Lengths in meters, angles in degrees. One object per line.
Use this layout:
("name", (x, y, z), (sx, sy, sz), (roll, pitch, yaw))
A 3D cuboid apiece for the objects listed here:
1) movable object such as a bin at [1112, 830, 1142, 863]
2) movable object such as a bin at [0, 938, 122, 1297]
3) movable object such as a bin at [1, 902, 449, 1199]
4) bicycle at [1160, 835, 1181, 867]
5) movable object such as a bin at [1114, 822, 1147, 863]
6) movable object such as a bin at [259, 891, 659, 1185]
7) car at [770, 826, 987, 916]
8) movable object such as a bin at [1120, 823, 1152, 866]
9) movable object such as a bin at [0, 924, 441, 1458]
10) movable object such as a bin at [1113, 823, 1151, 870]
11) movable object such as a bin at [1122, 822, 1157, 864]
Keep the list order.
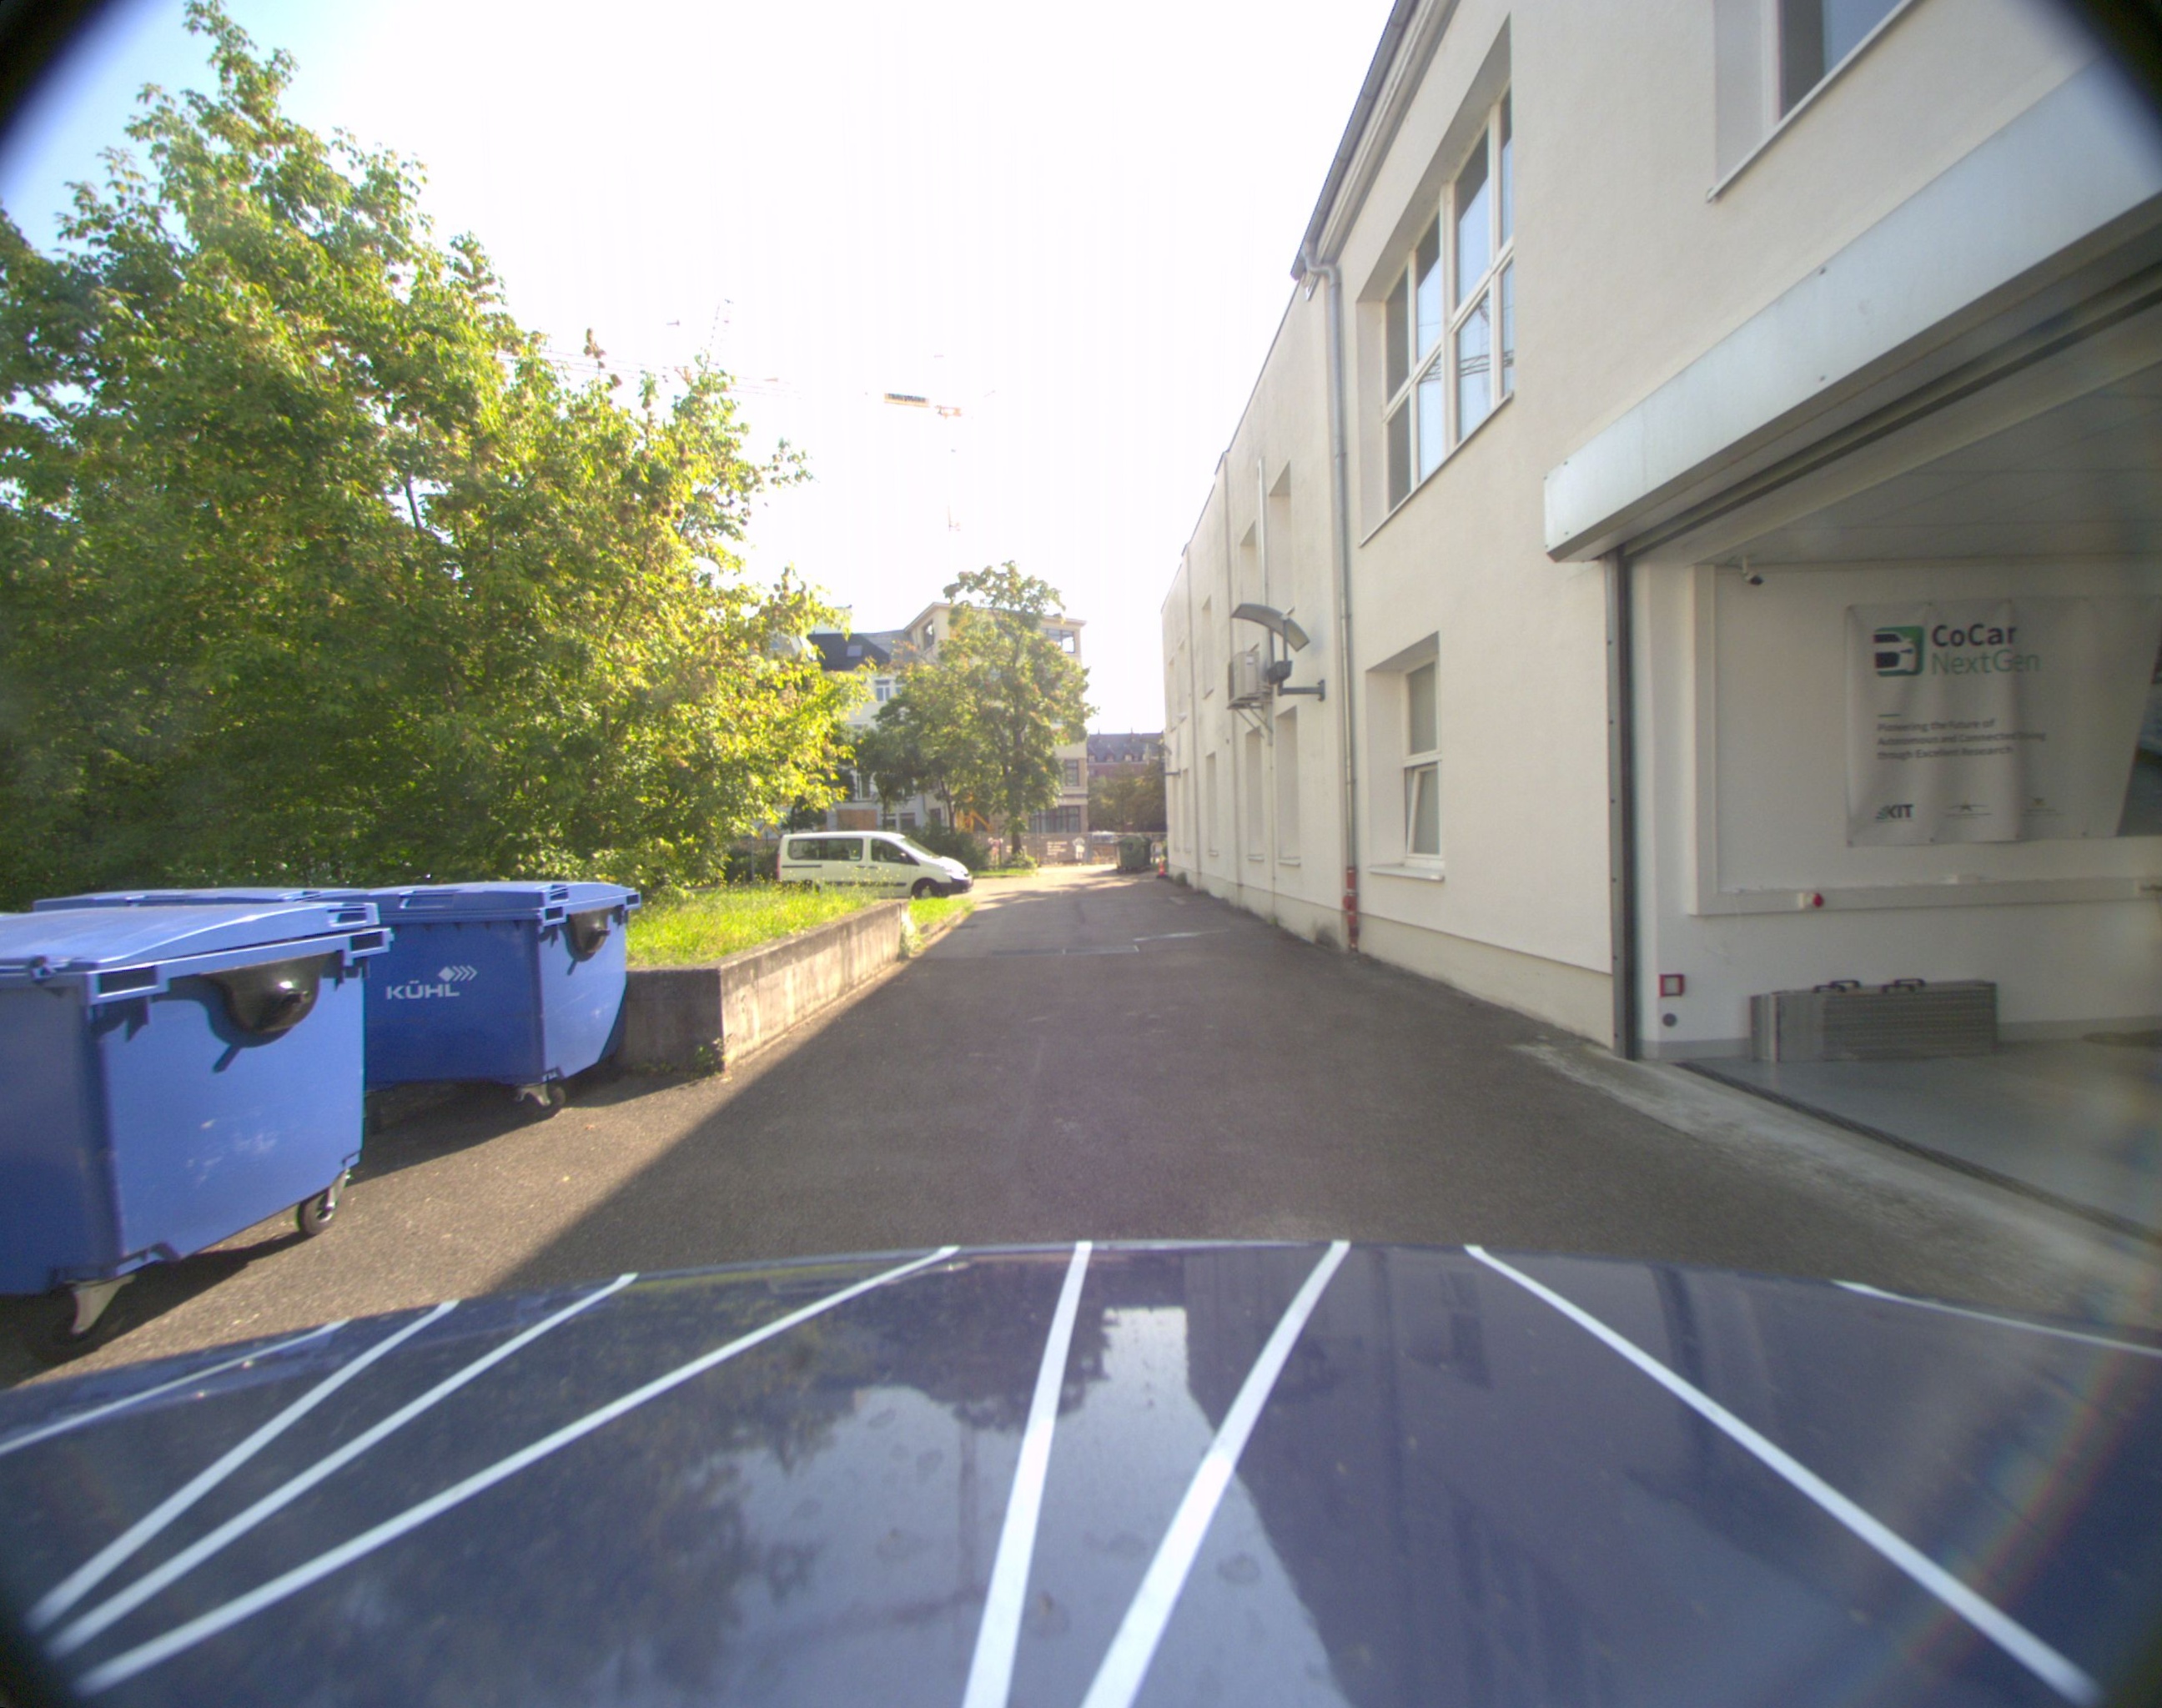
("movable object such as a bin", (2.137, -0.363, 35.293), (1.037, 1.489, 1.106), (-4, 3, -12))
("movable object such as a bin", (-4.802, 1.073, 2.702), (1.237, 1.333, 1.116), (-3, 3, 3))
("movable object such as a bin", (-4.793, 1.033, 4.419), (1.230, 1.333, 1.076), (-3, 3, -5))
("bicycle", (3.624, -0.152, 30.845), (0.477, 1.206, 2.007), (-3, 3, -2))
("movable object such as a bin", (2.204, -0.526, 33.887), (1.184, 1.696, 1.376), (-3, 3, -5))
("movable object such as a bin", (-3.460, 0.963, 4.427), (1.313, 1.333, 1.099), (-3, 3, -4))
("car", (-5.124, 0.395, 19.793), (4.969, 1.910, 2.043), (-3, 3, 1))
("movable object such as a bin", (2.235, -0.406, 31.085), (1.183, 1.696, 1.394), (-3, 3, 3))
("movable object such as a bin", (-3.473, 1.022, 2.676), (1.304, 1.333, 1.194), (-3, 3, -1))
("movable object such as a bin", (1.946, -0.313, 29.283), (1.184, 1.696, 1.376), (-3, 3, -5))
("movable object such as a bin", (2.493, -0.480, 32.495), (1.184, 1.696, 1.376), (-3, 3, -5))
